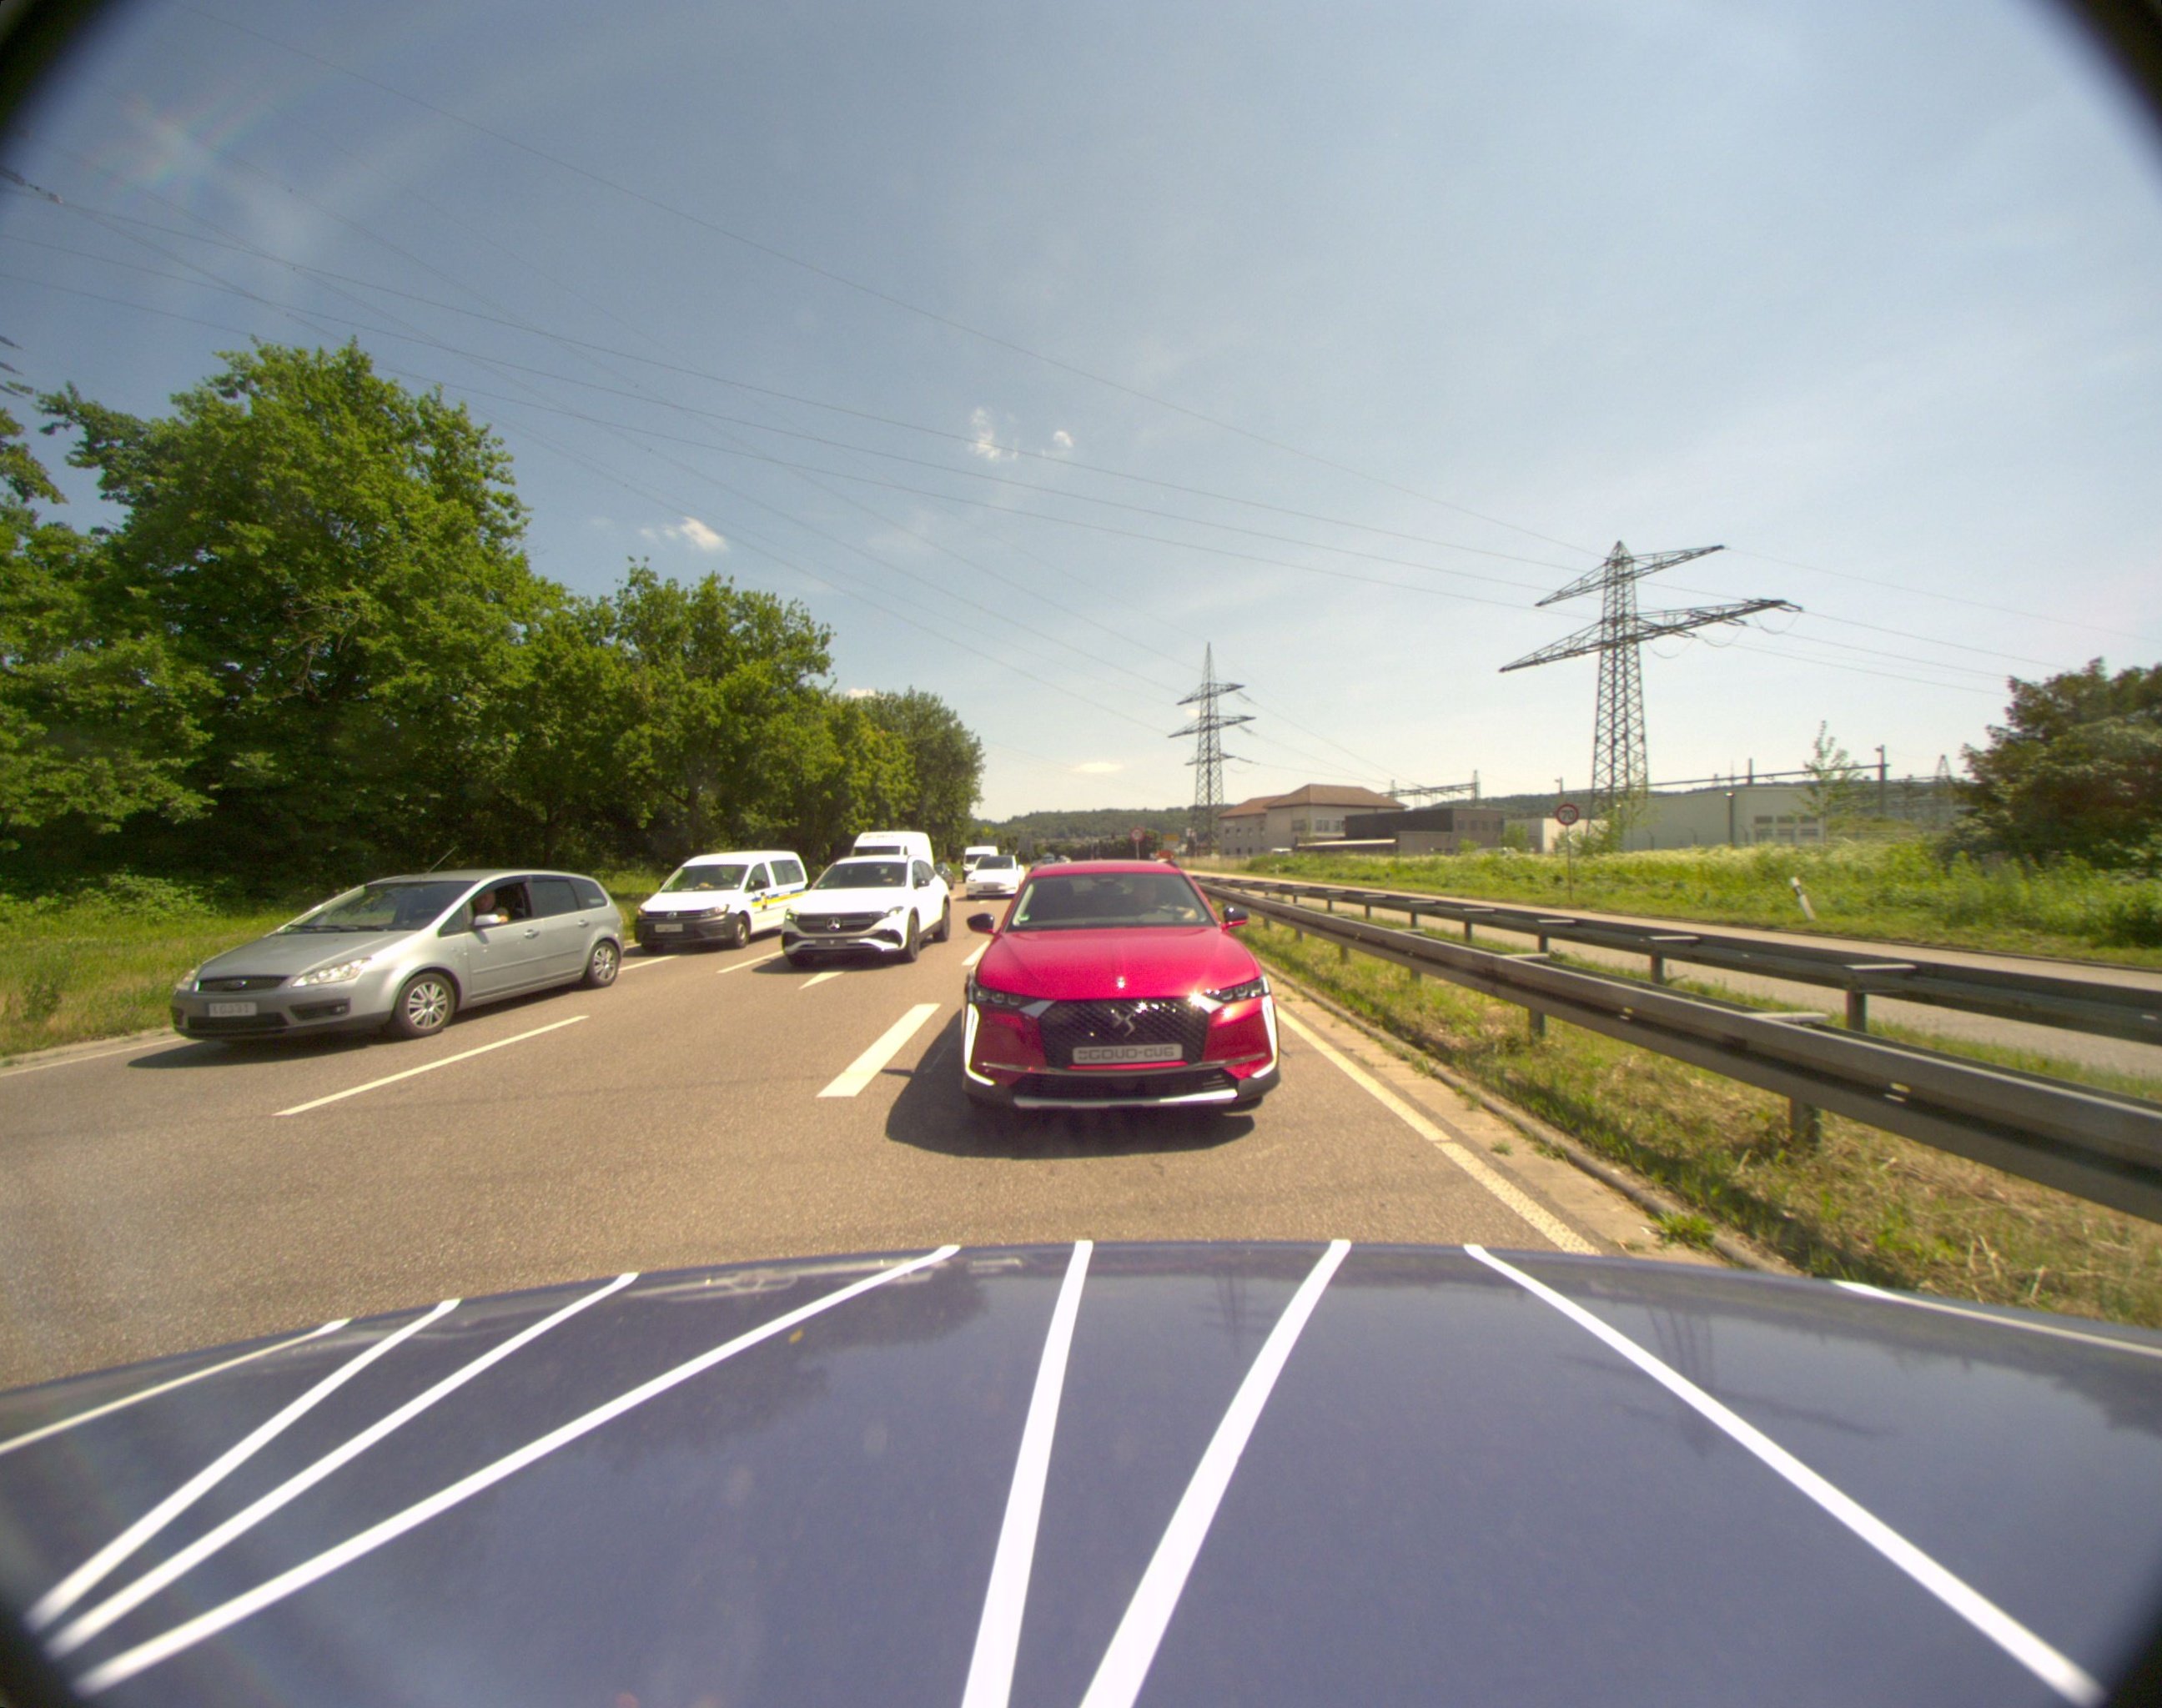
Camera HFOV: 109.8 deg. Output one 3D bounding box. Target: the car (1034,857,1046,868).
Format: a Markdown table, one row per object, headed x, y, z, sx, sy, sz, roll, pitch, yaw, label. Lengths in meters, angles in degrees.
| x | y | z | sx | sy | sz | roll | pitch | yaw | label |
| --- | --- | --- | --- | --- | --- | --- | --- | --- | --- |
| -6.713 | 1.413 | 124.320 | 1.878 | 1.674 | 3.998 | -2 | 1 | -2 | car |

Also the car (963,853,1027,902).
| x | y | z | sx | sy | sz | roll | pitch | yaw | label |
| --- | --- | --- | --- | --- | --- | --- | --- | --- | --- |
| -3.202 | 0.821 | 29.059 | 2.022 | 1.671 | 3.999 | -2 | 0 | -1 | car |

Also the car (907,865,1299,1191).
| x | y | z | sx | sy | sz | roll | pitch | yaw | label |
| --- | --- | --- | --- | --- | --- | --- | --- | --- | --- |
| 0.134 | 0.878 | 5.888 | 1.846 | 1.453 | 4.414 | -2 | 0 | 1 | car |

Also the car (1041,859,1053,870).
| x | y | z | sx | sy | sz | roll | pitch | yaw | label |
| --- | --- | --- | --- | --- | --- | --- | --- | --- | --- |
| -6.486 | 1.995 | 144.550 | 1.998 | 1.808 | 3.999 | -2 | 1 | 1 | car |

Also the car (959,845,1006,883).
| x | y | z | sx | sy | sz | roll | pitch | yaw | label |
| --- | --- | --- | --- | --- | --- | --- | --- | --- | --- |
| -6.842 | 0.645 | 53.456 | 2.308 | 2.408 | 5.814 | -2 | 0 | 1 | car |

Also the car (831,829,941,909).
| x | y | z | sx | sy | sz | roll | pitch | yaw | label |
| --- | --- | --- | --- | --- | --- | --- | --- | --- | --- |
| -7.101 | 0.490 | 28.628 | 2.232 | 2.592 | 7.018 | -2 | 0 | 0 | car |

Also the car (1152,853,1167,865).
| x | y | z | sx | sy | sz | roll | pitch | yaw | label |
| --- | --- | --- | --- | --- | --- | --- | --- | --- | --- |
| 14.077 | 0.857 | 135.695 | 1.999 | 1.904 | 3.998 | -2 | 1 | -4 | car |

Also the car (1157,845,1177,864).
| x | y | z | sx | sy | sz | roll | pitch | yaw | label |
| --- | --- | --- | --- | --- | --- | --- | --- | --- | --- |
| 14.238 | 0.131 | 125.849 | 2.607 | 3.043 | 5.638 | 0 | 0 | 0 | car |

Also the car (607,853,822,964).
| x | y | z | sx | sy | sz | roll | pitch | yaw | label |
| --- | --- | --- | --- | --- | --- | --- | --- | --- | --- |
| -6.995 | 0.916 | 15.253 | 1.809 | 1.790 | 5.037 | -2 | 0 | 0 | car |

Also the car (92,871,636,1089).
| x | y | z | sx | sy | sz | roll | pitch | yaw | label |
| --- | --- | --- | --- | --- | --- | --- | --- | --- | --- |
| -6.992 | 1.062 | 8.222 | 1.747 | 1.585 | 4.272 | -2 | 0 | 1 | car |

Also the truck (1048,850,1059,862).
| x | y | z | sx | sy | sz | roll | pitch | yaw | label |
| --- | --- | --- | --- | --- | --- | --- | --- | --- | --- |
| -6.096 | 0.454 | 168.693 | 2.170 | 2.428 | 4.909 | -2 | 1 | -2 | truck |

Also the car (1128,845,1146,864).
| x | y | z | sx | sy | sz | roll | pitch | yaw | label |
| --- | --- | --- | --- | --- | --- | --- | --- | --- | --- |
| 9.583 | 0.092 | 129.978 | 2.607 | 3.043 | 5.638 | 0 | 0 | 0 | car |

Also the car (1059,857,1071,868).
| x | y | z | sx | sy | sz | roll | pitch | yaw | label |
| --- | --- | --- | --- | --- | --- | --- | --- | --- | --- |
| -2.816 | 1.433 | 132.641 | 1.878 | 1.674 | 3.998 | -2 | 1 | -2 | car |

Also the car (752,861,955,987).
| x | y | z | sx | sy | sz | roll | pitch | yaw | label |
| --- | --- | --- | --- | --- | --- | --- | --- | --- | --- |
| -3.378 | 0.943 | 12.248 | 1.850 | 1.559 | 4.363 | -2 | 0 | 1 | car |
